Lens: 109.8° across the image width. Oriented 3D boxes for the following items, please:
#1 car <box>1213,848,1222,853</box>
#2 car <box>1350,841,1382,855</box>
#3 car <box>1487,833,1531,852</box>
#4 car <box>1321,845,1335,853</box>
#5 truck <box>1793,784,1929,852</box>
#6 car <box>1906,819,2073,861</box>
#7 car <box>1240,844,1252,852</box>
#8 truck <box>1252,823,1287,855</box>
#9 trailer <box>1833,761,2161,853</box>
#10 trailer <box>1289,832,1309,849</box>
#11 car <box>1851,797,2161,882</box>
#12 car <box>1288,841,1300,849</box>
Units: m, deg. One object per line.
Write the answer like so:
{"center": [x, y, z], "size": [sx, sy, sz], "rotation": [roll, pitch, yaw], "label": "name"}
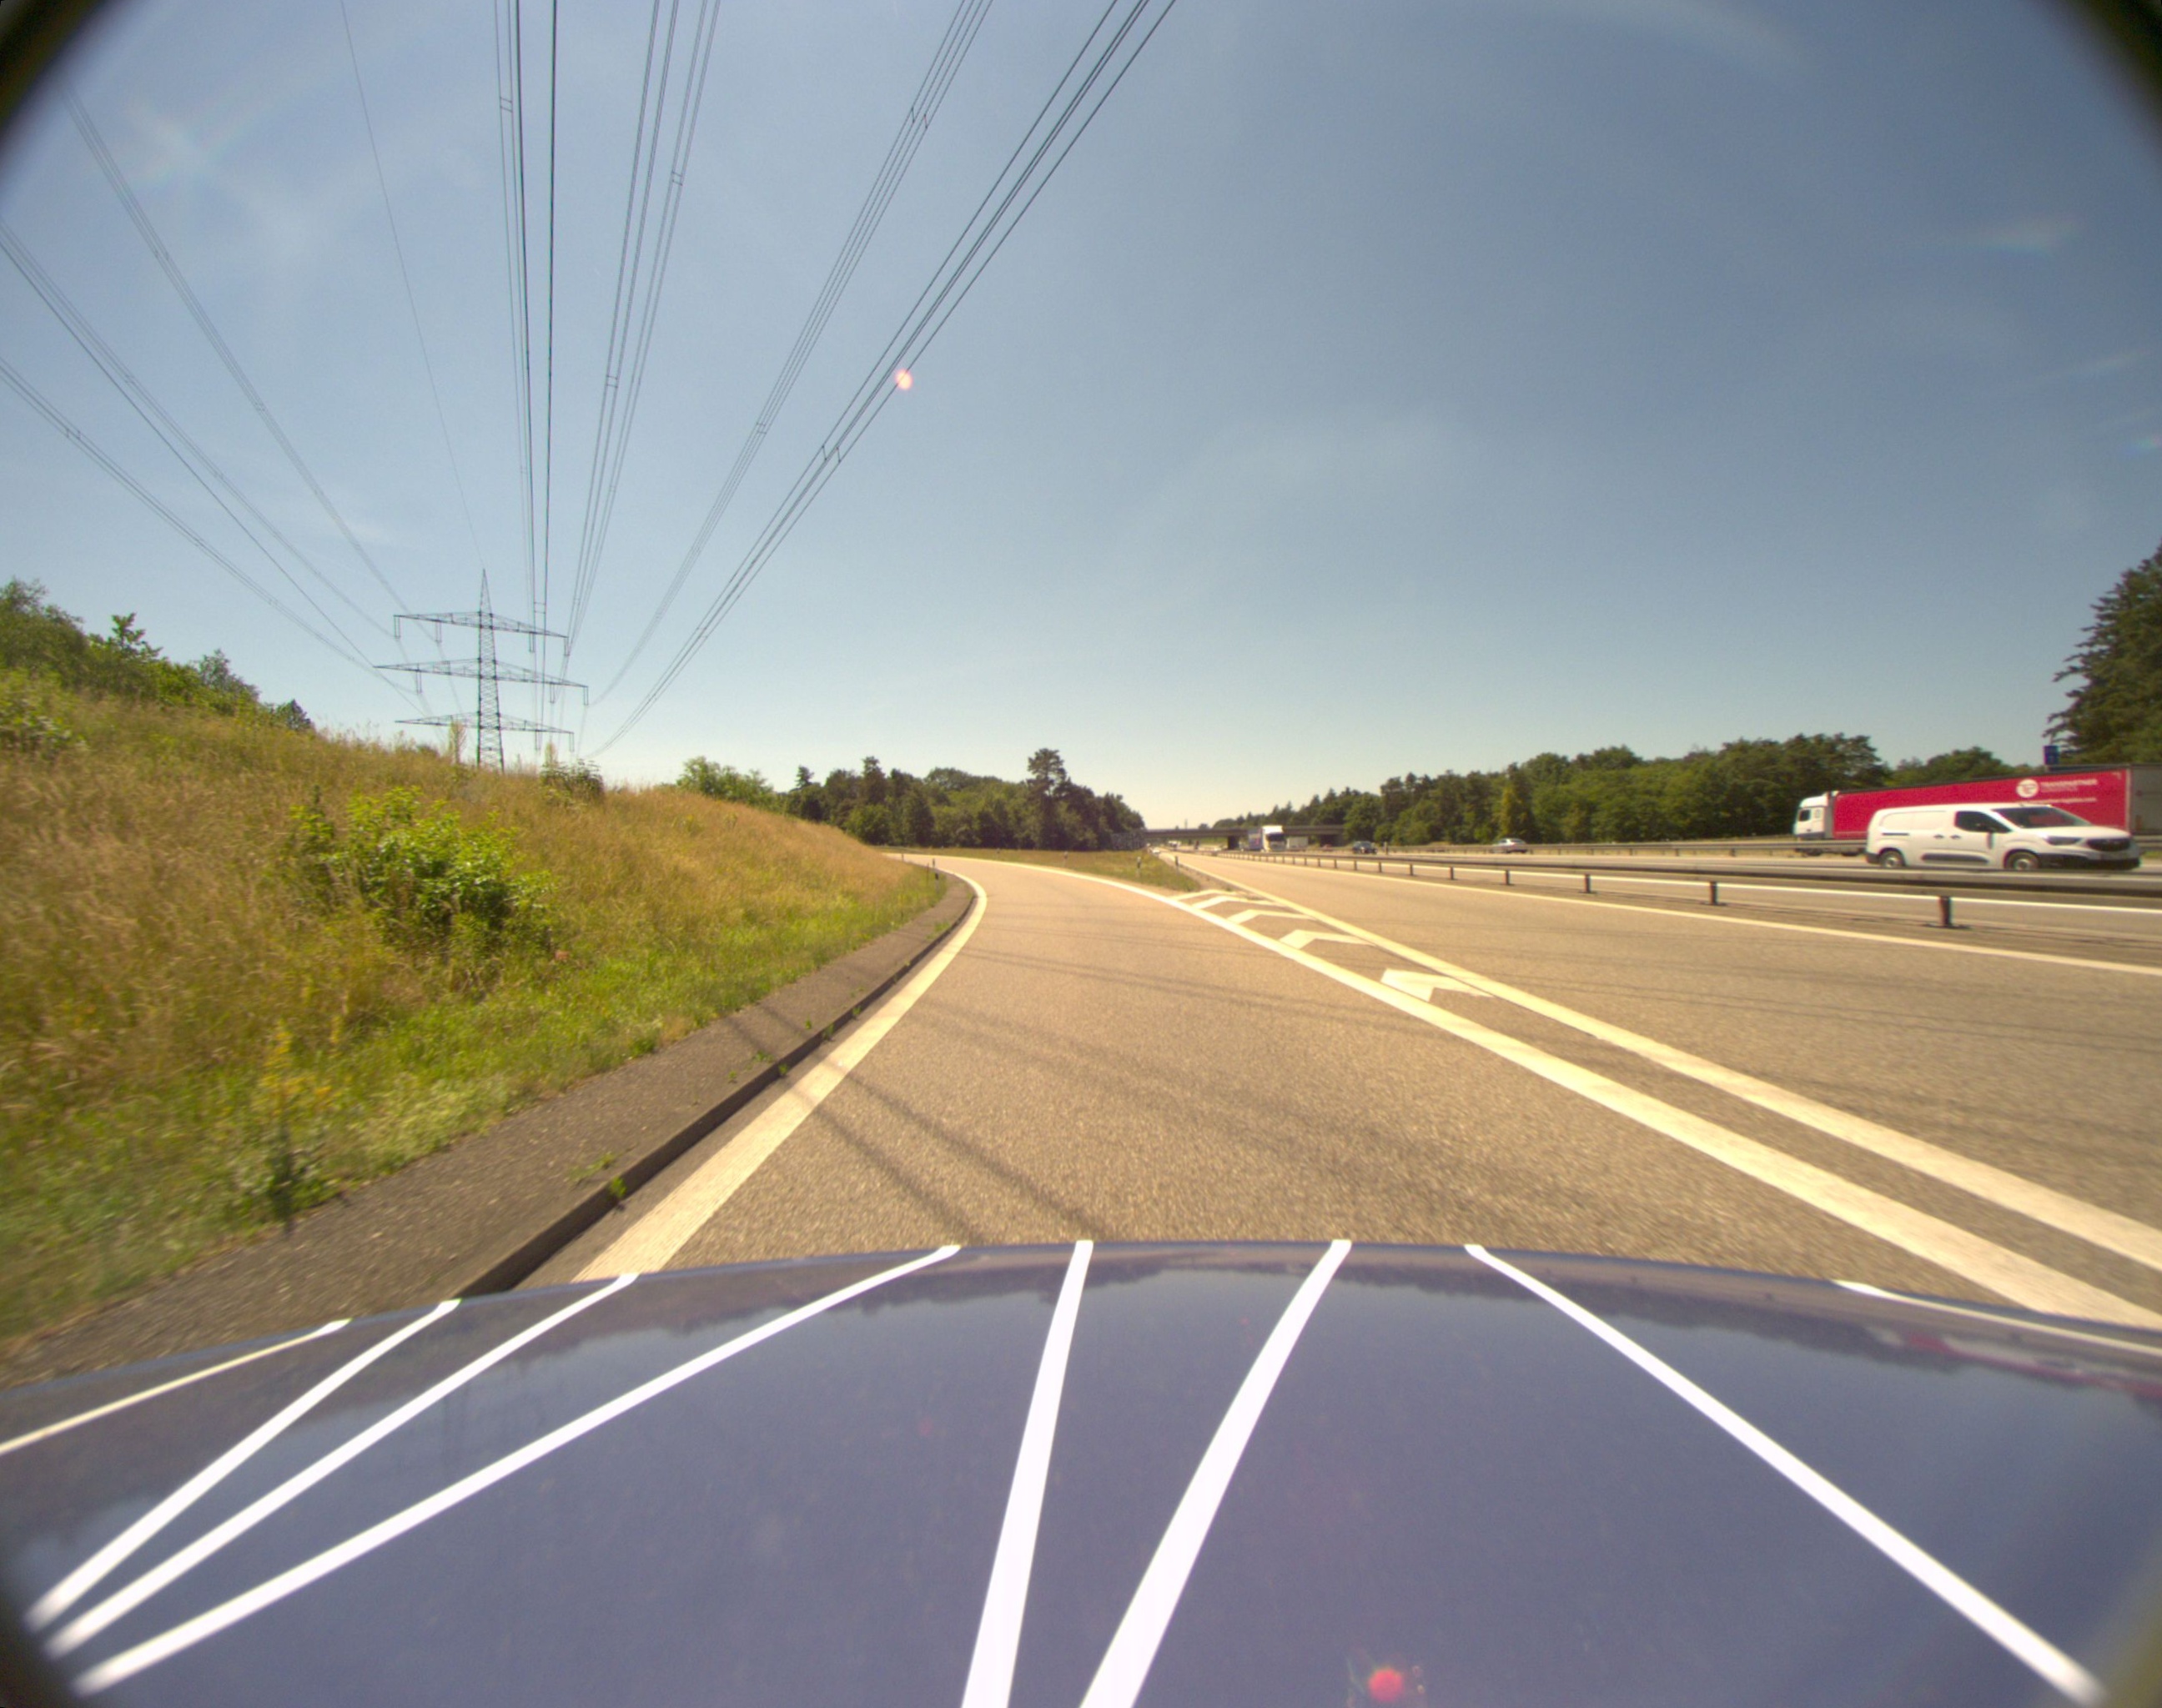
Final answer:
{"center": [40.364, -1.082, 224.258], "size": [1.998, 1.559, 4.000], "rotation": [-2, 1, 2], "label": "car"}
{"center": [31.362, -0.652, 83.732], "size": [1.998, 1.467, 4.242], "rotation": [-2, 1, 2], "label": "car"}
{"center": [40.473, -1.134, 71.955], "size": [1.775, 1.674, 4.825], "rotation": [-2, 2, 5], "label": "car"}
{"center": [51.621, -1.071, 158.800], "size": [1.965, 1.718, 4.000], "rotation": [0, 2, 4], "label": "car"}
{"center": [46.339, -2.019, 45.395], "size": [2.547, 3.775, 5.670], "rotation": [-2, 0, 5], "label": "truck"}
{"center": [40.507, -0.665, 34.110], "size": [1.919, 1.674, 4.825], "rotation": [-2, 2, 5], "label": "car"}
{"center": [35.123, -1.262, 161.804], "size": [1.998, 1.707, 4.001], "rotation": [-2, 1, 6], "label": "car"}
{"center": [25.489, -1.974, 103.234], "size": [2.709, 4.035, 11.050], "rotation": [-2, 1, 4], "label": "truck"}
{"center": [45.709, -2.003, 38.561], "size": [2.547, 3.775, 13.746], "rotation": [-2, 0, 5], "label": "trailer"}
{"center": [60.745, -3.800, 212.279], "size": [2.930, 4.362, 14.301], "rotation": [1, 1, 7], "label": "trailer"}
{"center": [22.143, -0.349, 18.591], "size": [1.775, 1.744, 5.021], "rotation": [-2, 1, 5], "label": "car"}
{"center": [50.111, -2.044, 179.169], "size": [1.998, 1.838, 4.360], "rotation": [-1, 0, 6], "label": "car"}
